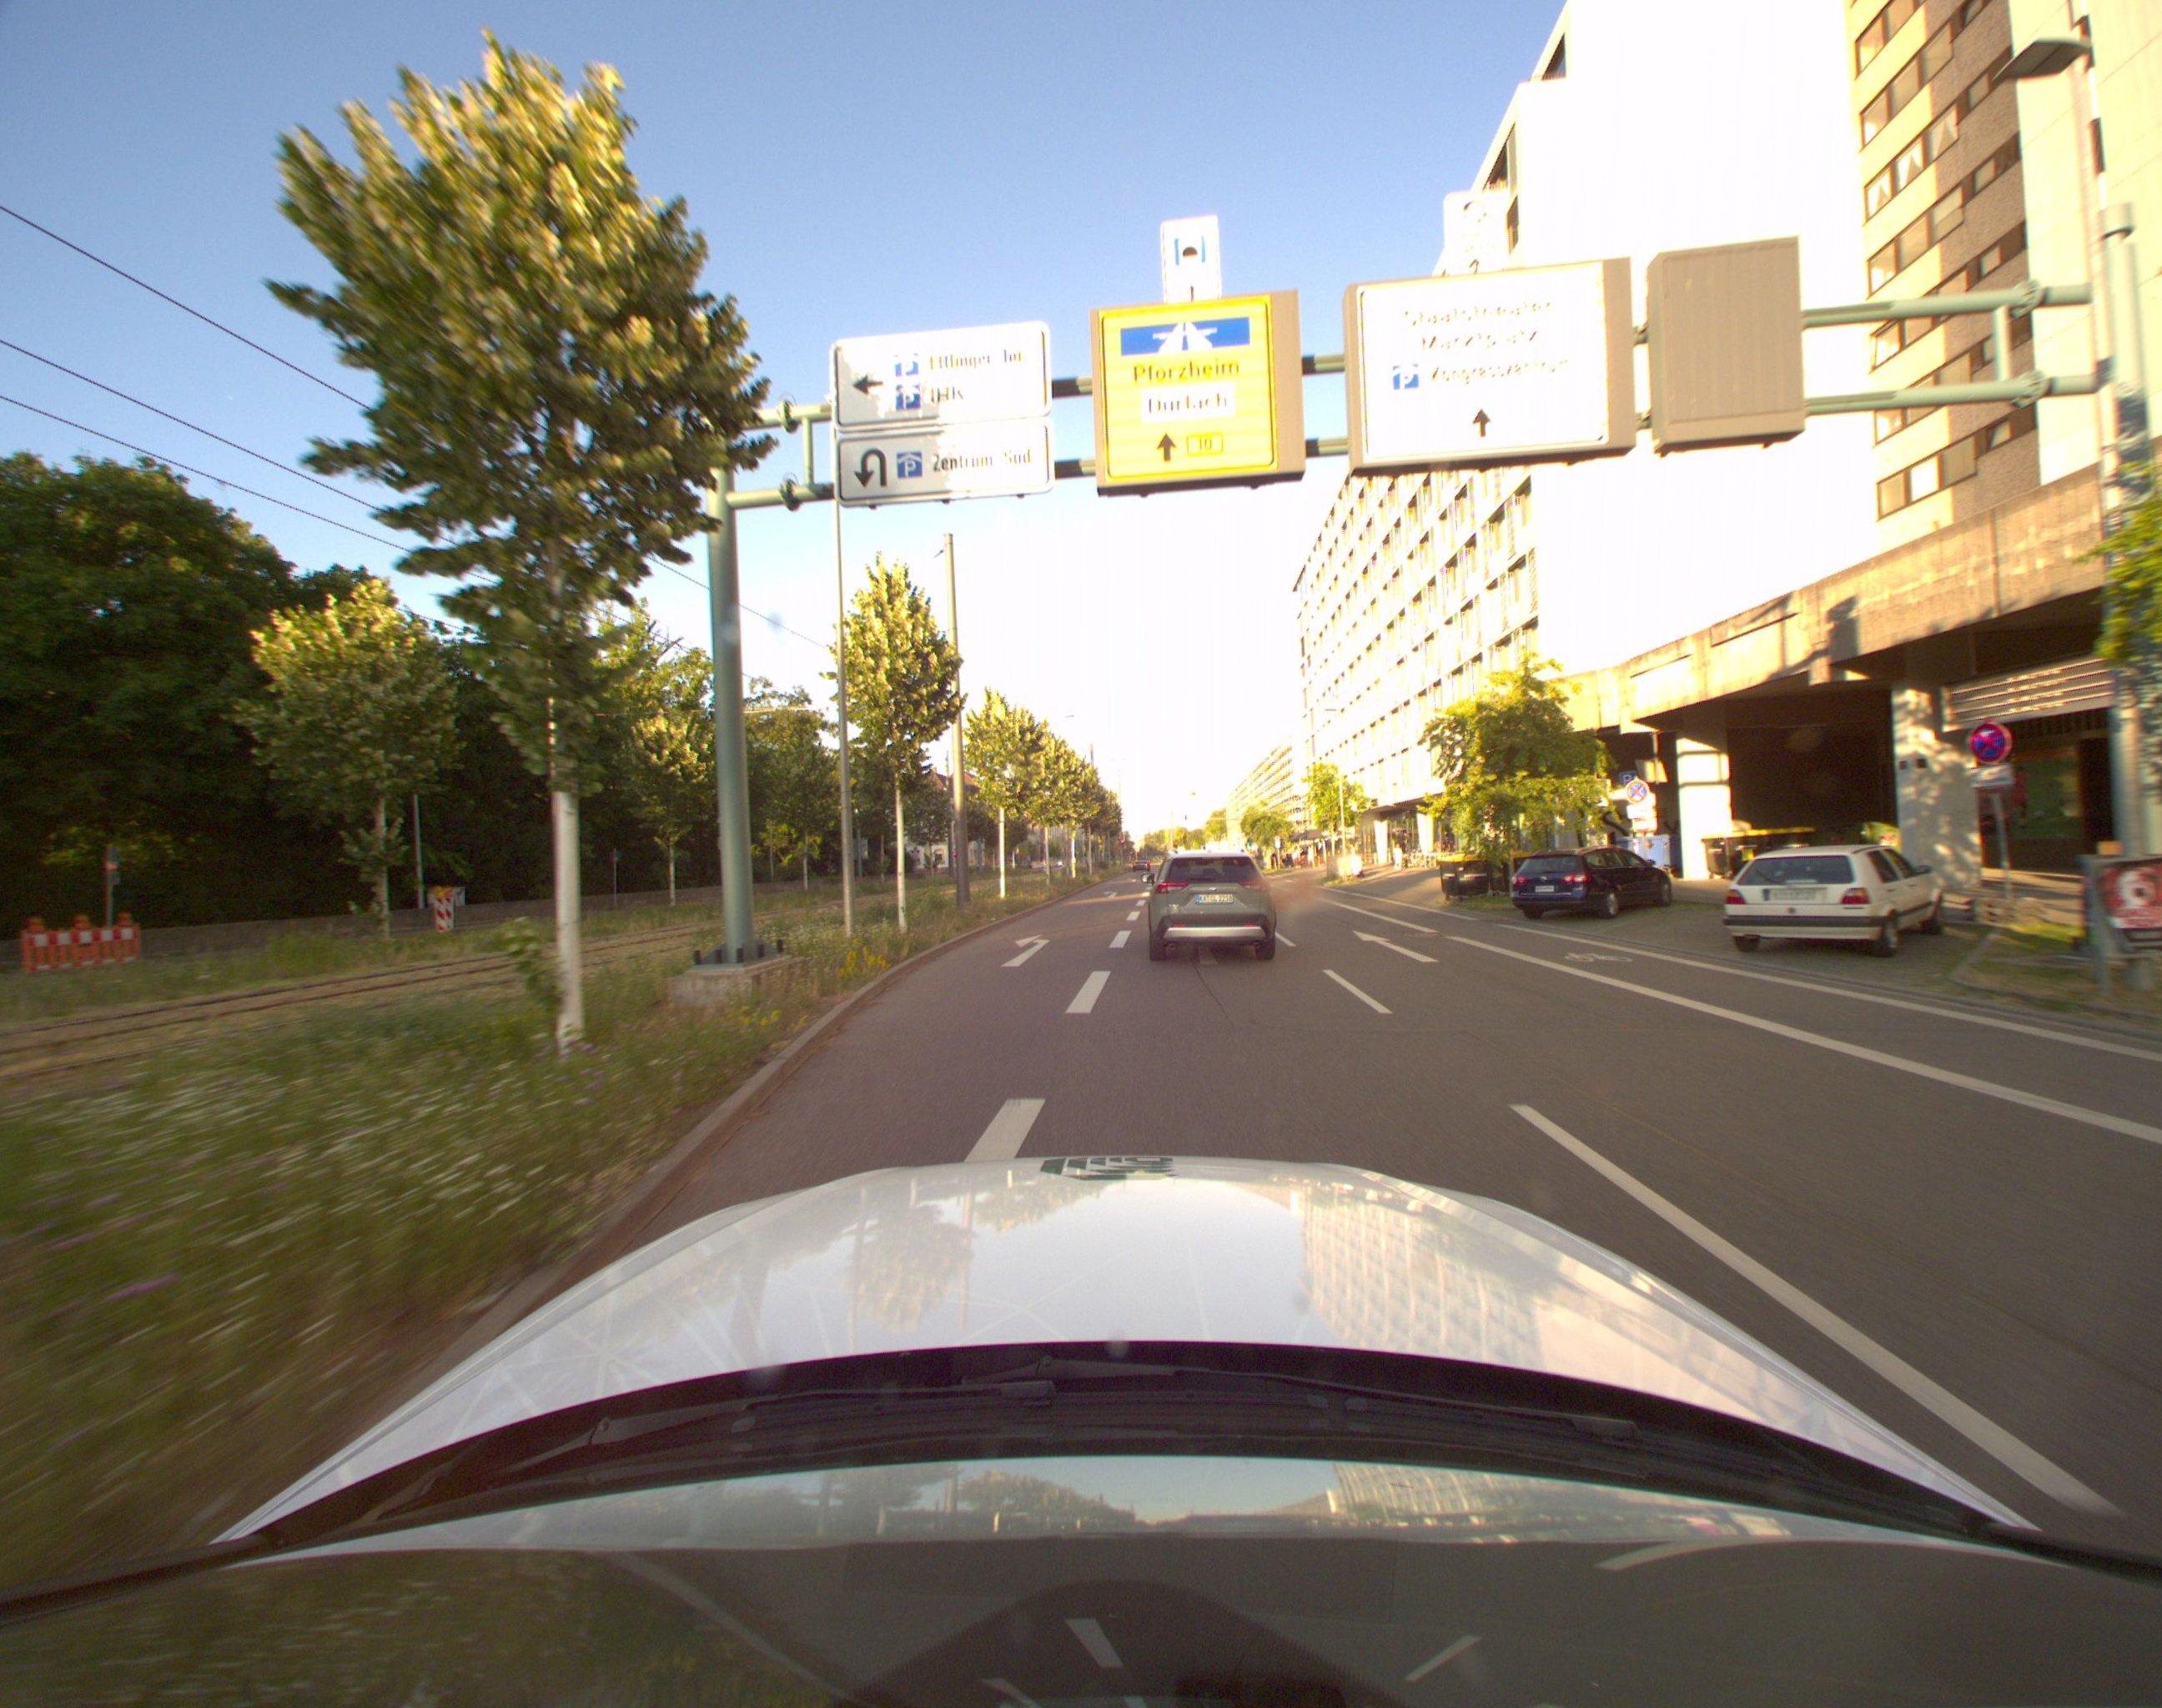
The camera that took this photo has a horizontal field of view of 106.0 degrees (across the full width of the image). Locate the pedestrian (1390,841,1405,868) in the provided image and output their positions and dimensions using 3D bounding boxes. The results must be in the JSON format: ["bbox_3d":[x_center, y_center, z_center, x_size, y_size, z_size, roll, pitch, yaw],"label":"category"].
[{"bbox_3d":[19.140,0.030,49.289,0.574,1.619,0.643,-4,0,3],"label":"pedestrian"}]

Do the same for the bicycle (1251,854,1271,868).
[{"bbox_3d":[17.474,0.655,79.179,1.787,1.193,0.568,-4,0,1],"label":"bicycle"}]

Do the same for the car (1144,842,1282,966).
[{"bbox_3d":[2.094,0.685,13.288,1.824,1.672,4.292,-1,0,8],"label":"car"}]

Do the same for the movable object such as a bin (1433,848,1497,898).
[{"bbox_3d":[10.970,0.525,23.316,1.081,1.301,1.360,-4,0,-1],"label":"movable object such as a bin"}]

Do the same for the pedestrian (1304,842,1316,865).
[{"bbox_3d":[19.442,-0.024,69.142,0.818,1.888,0.869,-4,-2,14],"label":"pedestrian"}]

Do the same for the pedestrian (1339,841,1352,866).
[{"bbox_3d":[20.156,-0.038,62.060,0.751,1.824,0.944,-4,-1,15],"label":"pedestrian"}]

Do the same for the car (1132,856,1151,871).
[{"bbox_3d":[5.924,0.903,79.775,1.666,1.352,4.007,-1,0,6],"label":"car"}]

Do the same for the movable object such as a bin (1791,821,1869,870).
[{"bbox_3d":[21.446,-0.251,23.343,1.176,1.313,1.126,-3,0,4],"label":"movable object such as a bin"}]

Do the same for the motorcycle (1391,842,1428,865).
[{"bbox_3d":[21.605,-0.022,53.537,2.111,1.386,0.670,-4,0,-9],"label":"motorcycle"}]

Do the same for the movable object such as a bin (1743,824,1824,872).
[{"bbox_3d":[20.086,-0.170,23.318,1.176,1.299,1.306,-3,0,4],"label":"movable object such as a bin"}]

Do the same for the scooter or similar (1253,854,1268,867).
[{"bbox_3d":[17.350,0.619,78.640,1.205,1.201,0.480,-4,0,0],"label":"scooter or similar"}]

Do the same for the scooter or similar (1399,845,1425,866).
[{"bbox_3d":[20.814,0.113,51.215,1.263,1.233,0.609,-4,0,1],"label":"scooter or similar"}]

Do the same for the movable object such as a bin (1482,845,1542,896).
[{"bbox_3d":[12.325,0.450,23.311,1.010,1.347,1.161,-5,0,1],"label":"movable object such as a bin"}]

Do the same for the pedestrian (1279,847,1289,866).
[{"bbox_3d":[19.060,0.212,76.592,0.682,1.735,0.762,-5,0,5],"label":"pedestrian"}]

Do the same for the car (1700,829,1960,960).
[{"bbox_3d":[10.852,0.504,11.742,4.006,1.416,1.733,-4,-1,-33],"label":"car"}]

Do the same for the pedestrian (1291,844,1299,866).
[{"bbox_3d":[18.380,0.103,69.903,0.572,1.786,0.832,-4,-2,13],"label":"pedestrian"}]

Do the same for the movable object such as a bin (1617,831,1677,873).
[{"bbox_3d":[19.194,-0.076,27.645,1.099,1.329,1.285,-4,0,5],"label":"movable object such as a bin"}]

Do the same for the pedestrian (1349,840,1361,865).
[{"bbox_3d":[20.743,-0.099,61.659,0.614,1.811,0.780,-5,-1,15],"label":"pedestrian"}]

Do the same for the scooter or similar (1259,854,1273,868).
[{"bbox_3d":[17.135,0.659,75.396,1.118,1.213,0.534,-5,-2,21],"label":"scooter or similar"}]

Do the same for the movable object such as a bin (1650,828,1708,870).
[{"bbox_3d":[20.320,-0.177,27.712,1.069,1.329,1.204,-3,0,5],"label":"movable object such as a bin"}]

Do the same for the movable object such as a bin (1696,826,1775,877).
[{"bbox_3d":[18.721,-0.082,23.328,1.176,1.323,1.268,-5,0,4],"label":"movable object such as a bin"}]

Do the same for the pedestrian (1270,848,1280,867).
[{"bbox_3d":[18.250,0.299,76.567,0.650,1.702,0.690,-4,0,5],"label":"pedestrian"}]

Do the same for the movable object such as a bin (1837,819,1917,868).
[{"bbox_3d":[22.668,-0.301,23.225,1.176,1.313,1.089,-3,0,4],"label":"movable object such as a bin"}]

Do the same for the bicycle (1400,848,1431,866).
[{"bbox_3d":[21.293,0.195,51.813,1.693,0.986,0.551,-4,0,2],"label":"bicycle"}]

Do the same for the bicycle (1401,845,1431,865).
[{"bbox_3d":[21.716,0.088,52.799,1.605,1.154,0.610,-4,0,-7],"label":"bicycle"}]

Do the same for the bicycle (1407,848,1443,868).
[{"bbox_3d":[21.019,0.243,49.724,1.877,1.010,0.566,-5,-1,3],"label":"bicycle"}]

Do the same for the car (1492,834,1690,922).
[{"bbox_3d":[11.423,0.496,18.134,4.688,1.508,1.919,-4,-1,-34],"label":"car"}]

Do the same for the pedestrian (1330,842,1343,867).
[{"bbox_3d":[19.453,0.013,62.036,0.738,1.849,0.944,-5,-1,15],"label":"pedestrian"}]
